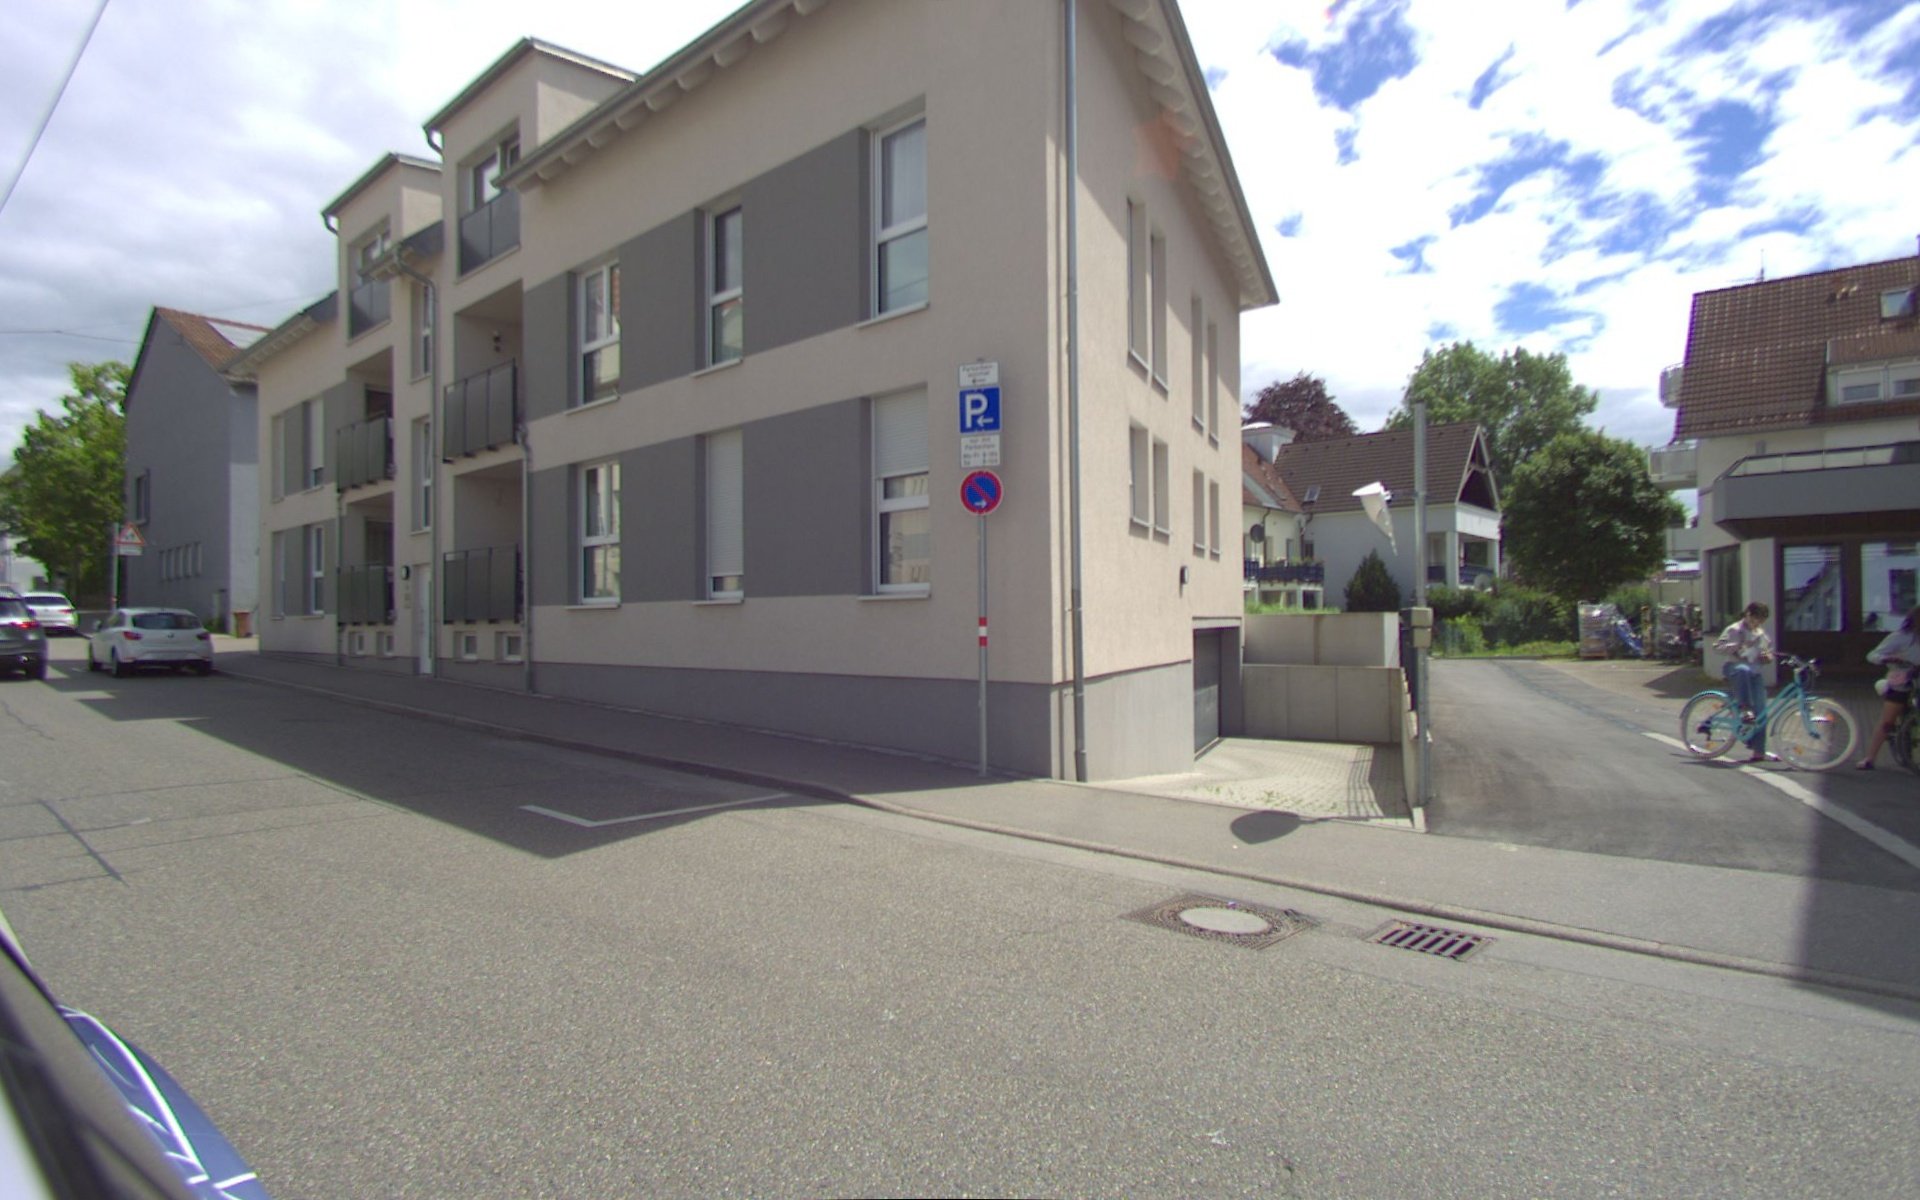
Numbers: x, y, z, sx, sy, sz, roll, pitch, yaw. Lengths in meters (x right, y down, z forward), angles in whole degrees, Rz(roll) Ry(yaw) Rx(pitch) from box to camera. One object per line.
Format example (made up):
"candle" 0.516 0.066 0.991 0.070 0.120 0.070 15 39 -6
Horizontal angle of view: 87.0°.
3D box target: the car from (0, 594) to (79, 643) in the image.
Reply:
"car" -30.965 0.594 33.856 4.066 1.499 1.714 2 0 42

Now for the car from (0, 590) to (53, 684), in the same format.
"car" -19.695 0.727 19.899 4.589 1.732 1.923 -2 -2 37

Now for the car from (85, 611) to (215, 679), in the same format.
"car" -17.532 0.927 21.865 3.472 1.340 1.644 -1 -1 42

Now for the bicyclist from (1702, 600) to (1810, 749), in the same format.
"bicyclist" 6.902 0.627 8.784 0.631 1.251 0.428 0 0 -16

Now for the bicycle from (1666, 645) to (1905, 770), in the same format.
"bicycle" 6.951 0.864 8.625 0.451 0.924 1.593 -1 -2 -13

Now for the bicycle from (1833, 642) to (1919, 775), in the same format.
"bicycle" 7.701 0.846 8.037 0.551 0.961 1.680 -2 -2 20

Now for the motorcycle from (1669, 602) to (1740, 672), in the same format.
"motorcycle" 17.581 0.834 23.857 0.860 1.530 3.748 -1 -2 44

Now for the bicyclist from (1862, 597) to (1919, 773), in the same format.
"bicyclist" 7.714 0.660 8.063 0.584 1.376 0.422 -3 -3 20

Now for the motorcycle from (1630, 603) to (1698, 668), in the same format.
"motorcycle" 17.795 0.860 25.527 0.860 1.530 3.567 -1 -2 44
